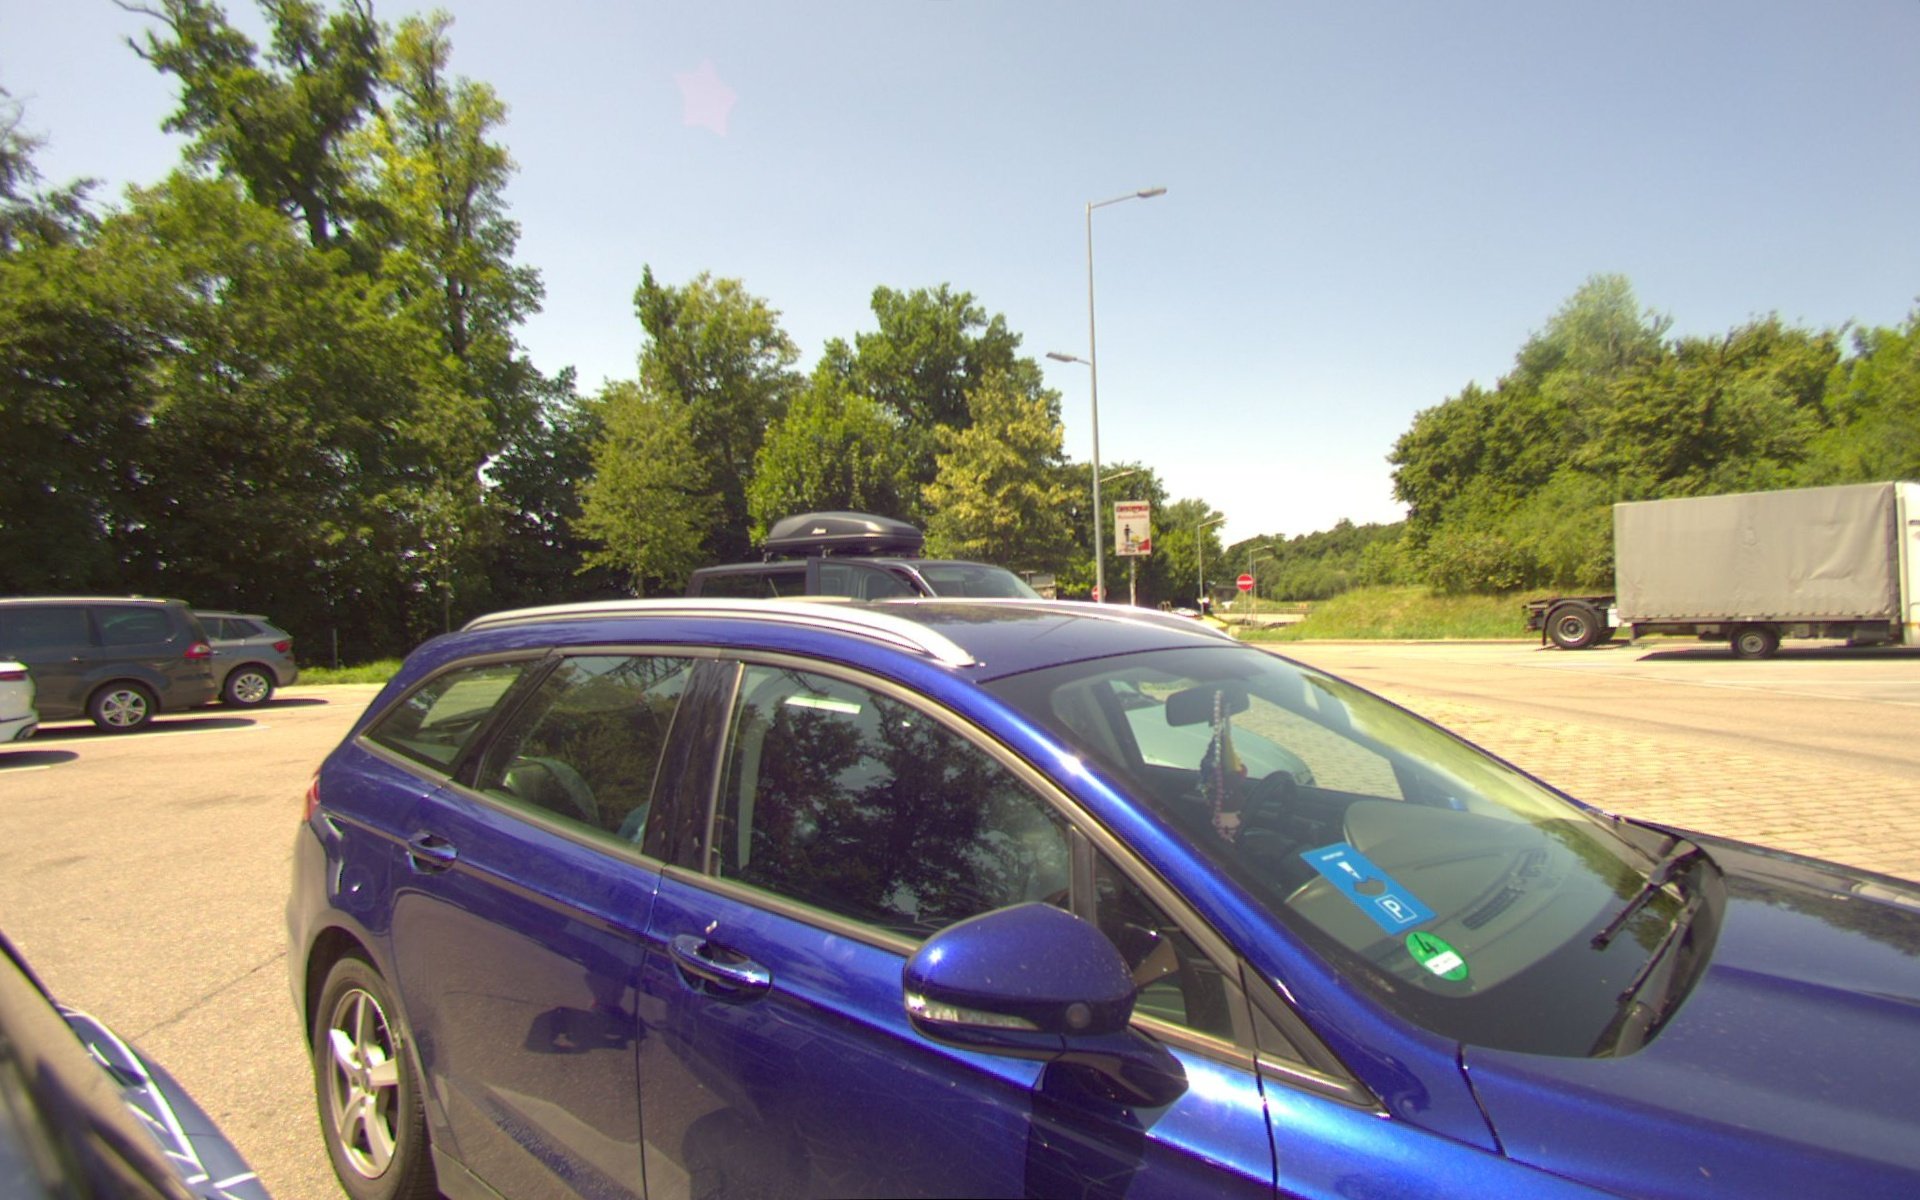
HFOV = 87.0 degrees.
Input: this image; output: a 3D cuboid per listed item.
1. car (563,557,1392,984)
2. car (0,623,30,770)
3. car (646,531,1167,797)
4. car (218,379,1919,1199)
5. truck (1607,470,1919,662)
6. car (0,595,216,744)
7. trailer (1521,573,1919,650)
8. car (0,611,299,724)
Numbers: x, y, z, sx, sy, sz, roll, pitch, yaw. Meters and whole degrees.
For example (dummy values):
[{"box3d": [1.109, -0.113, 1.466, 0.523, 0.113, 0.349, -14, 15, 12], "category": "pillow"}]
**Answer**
[{"box3d": [-0.218, 0.675, 5.798, 4.637, 1.545, 1.720, -2, 0, 39], "category": "car"}, {"box3d": [-10.997, 0.938, 9.174, 3.767, 1.396, 1.722, 0, -1, -43], "category": "car"}, {"box3d": [-0.660, 0.513, 9.371, 4.635, 1.884, 1.937, -2, 0, 37], "category": "car"}, {"box3d": [0.243, 0.638, 2.086, 4.637, 1.493, 1.720, -2, -1, 39], "category": "car"}, {"box3d": [16.709, -0.604, 18.940, 7.337, 3.235, 2.502, -4, -1, 41], "category": "truck"}, {"box3d": [-11.655, 0.828, 12.638, 3.762, 1.737, 1.724, 0, -1, -38], "category": "car"}, {"box3d": [17.639, 0.307, 23.161, 8.088, 1.385, 2.200, -4, -1, 41], "category": "trailer"}, {"box3d": [-12.593, 0.961, 15.719, 3.762, 1.551, 1.724, 0, -1, -38], "category": "car"}]
